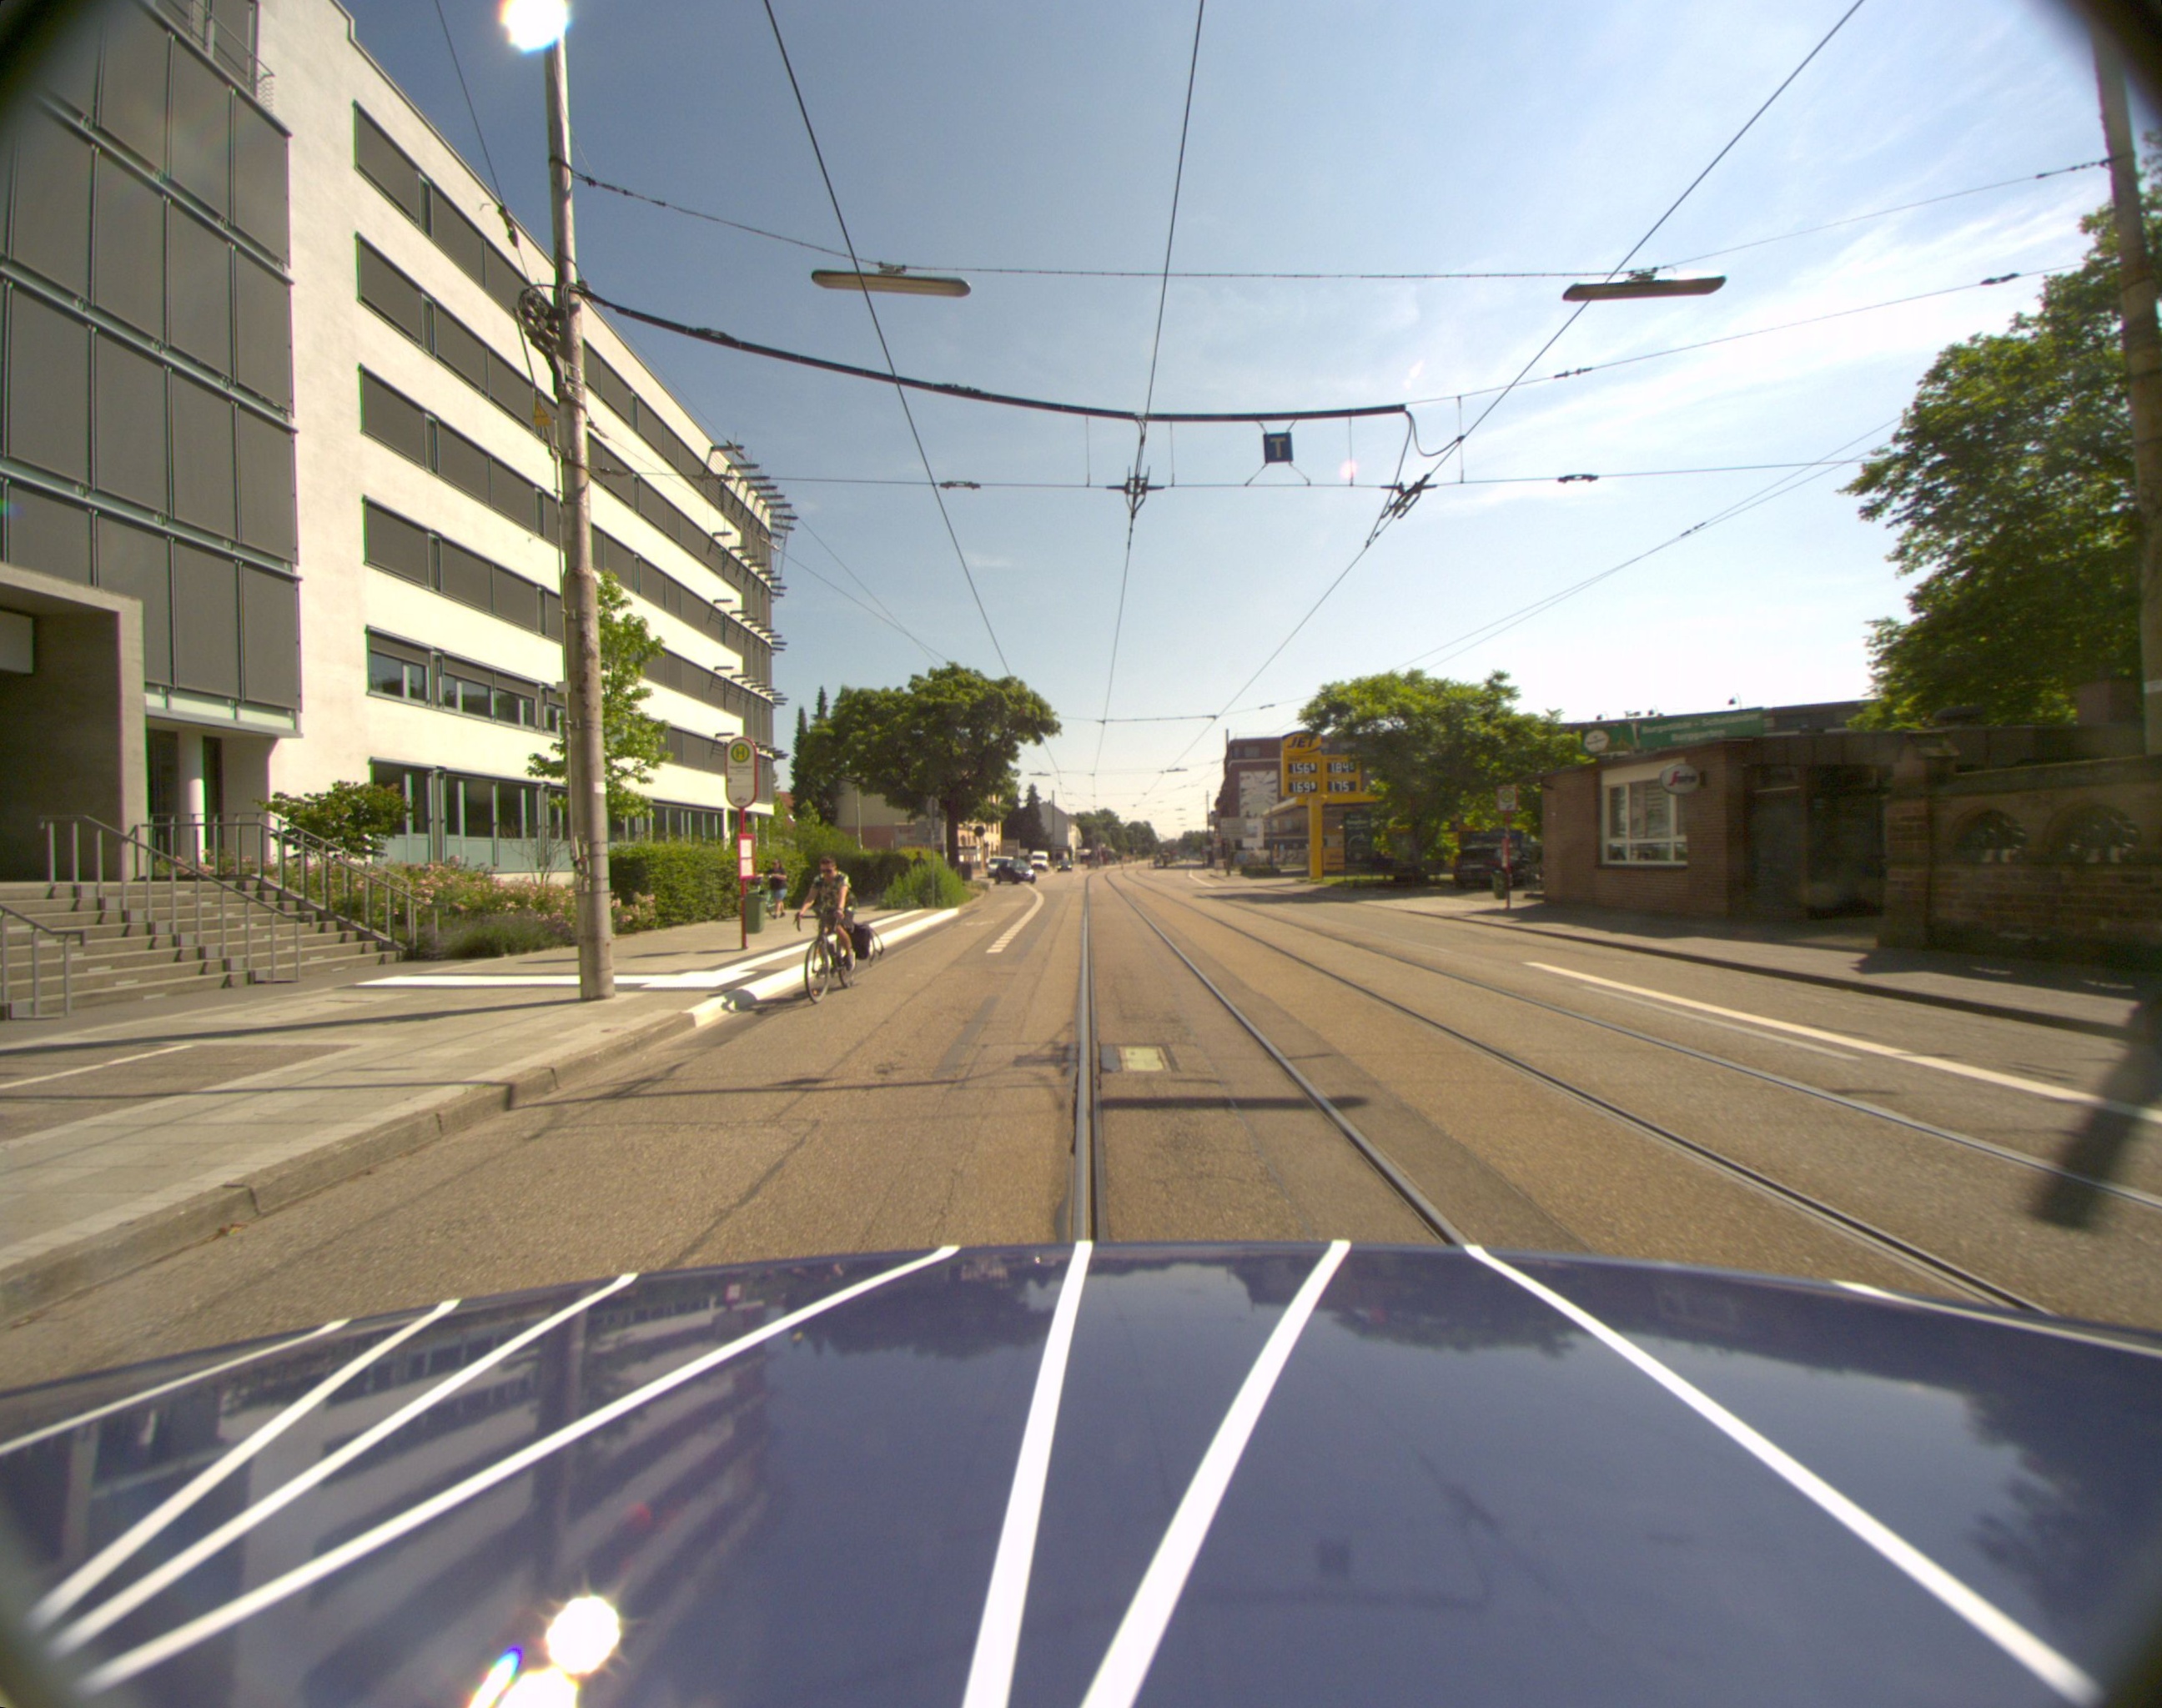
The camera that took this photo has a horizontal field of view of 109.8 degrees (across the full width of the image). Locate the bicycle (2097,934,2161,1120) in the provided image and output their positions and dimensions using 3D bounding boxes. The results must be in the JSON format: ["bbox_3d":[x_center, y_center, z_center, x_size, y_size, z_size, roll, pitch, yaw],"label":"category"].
[{"bbox_3d":[6.886,1.072,3.911,0.593,1.099,2.054,-1,0,1],"label":"bicycle"}]

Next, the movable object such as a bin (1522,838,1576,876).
[{"bbox_3d":[19.164,0.119,31.159,1.420,1.494,1.380,1,0,4],"label":"movable object such as a bin"}]

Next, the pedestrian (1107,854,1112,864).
[{"bbox_3d":[4.931,0.814,130.944,0.707,1.680,0.416,-1,1,0],"label":"pedestrian"}]

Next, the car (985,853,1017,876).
[{"bbox_3d":[-7.093,0.937,67.861,2.089,2.002,4.909,0,0,2],"label":"car"}]

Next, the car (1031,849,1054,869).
[{"bbox_3d":[-4.895,0.632,97.774,2.335,2.521,6.507,1,0,2],"label":"car"}]

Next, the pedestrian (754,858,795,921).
[{"bbox_3d":[-7.744,0.885,19.214,0.688,1.554,0.988,0,0,-4],"label":"pedestrian"}]

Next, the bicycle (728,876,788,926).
[{"bbox_3d":[-8.174,1.163,19.333,0.637,1.111,2.067,-1,0,0],"label":"bicycle"}]

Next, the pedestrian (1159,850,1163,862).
[{"bbox_3d":[11.878,0.271,112.925,0.557,1.750,0.793,-1,1,2],"label":"pedestrian"}]

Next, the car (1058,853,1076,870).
[{"bbox_3d":[-1.727,0.891,93.195,1.998,2.002,4.000,-1,0,1],"label":"car"}]

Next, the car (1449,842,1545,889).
[{"bbox_3d":[15.996,0.399,29.103,2.014,1.631,4.669,-1,0,44],"label":"car"}]

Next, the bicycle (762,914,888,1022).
[{"bbox_3d":[-3.031,1.317,9.265,0.610,0.978,2.165,-1,0,5],"label":"bicycle"}]

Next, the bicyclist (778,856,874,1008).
[{"bbox_3d":[-3.014,0.886,9.087,0.718,1.714,0.988,-1,0,4],"label":"bicyclist"}]

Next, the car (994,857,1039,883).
[{"bbox_3d":[-3.991,0.962,46.906,1.482,1.529,2.969,-1,0,-34],"label":"car"}]

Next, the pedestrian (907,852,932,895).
[{"bbox_3d":[-6.954,0.839,32.713,0.892,1.807,1.073,-1,0,-6],"label":"pedestrian"}]
